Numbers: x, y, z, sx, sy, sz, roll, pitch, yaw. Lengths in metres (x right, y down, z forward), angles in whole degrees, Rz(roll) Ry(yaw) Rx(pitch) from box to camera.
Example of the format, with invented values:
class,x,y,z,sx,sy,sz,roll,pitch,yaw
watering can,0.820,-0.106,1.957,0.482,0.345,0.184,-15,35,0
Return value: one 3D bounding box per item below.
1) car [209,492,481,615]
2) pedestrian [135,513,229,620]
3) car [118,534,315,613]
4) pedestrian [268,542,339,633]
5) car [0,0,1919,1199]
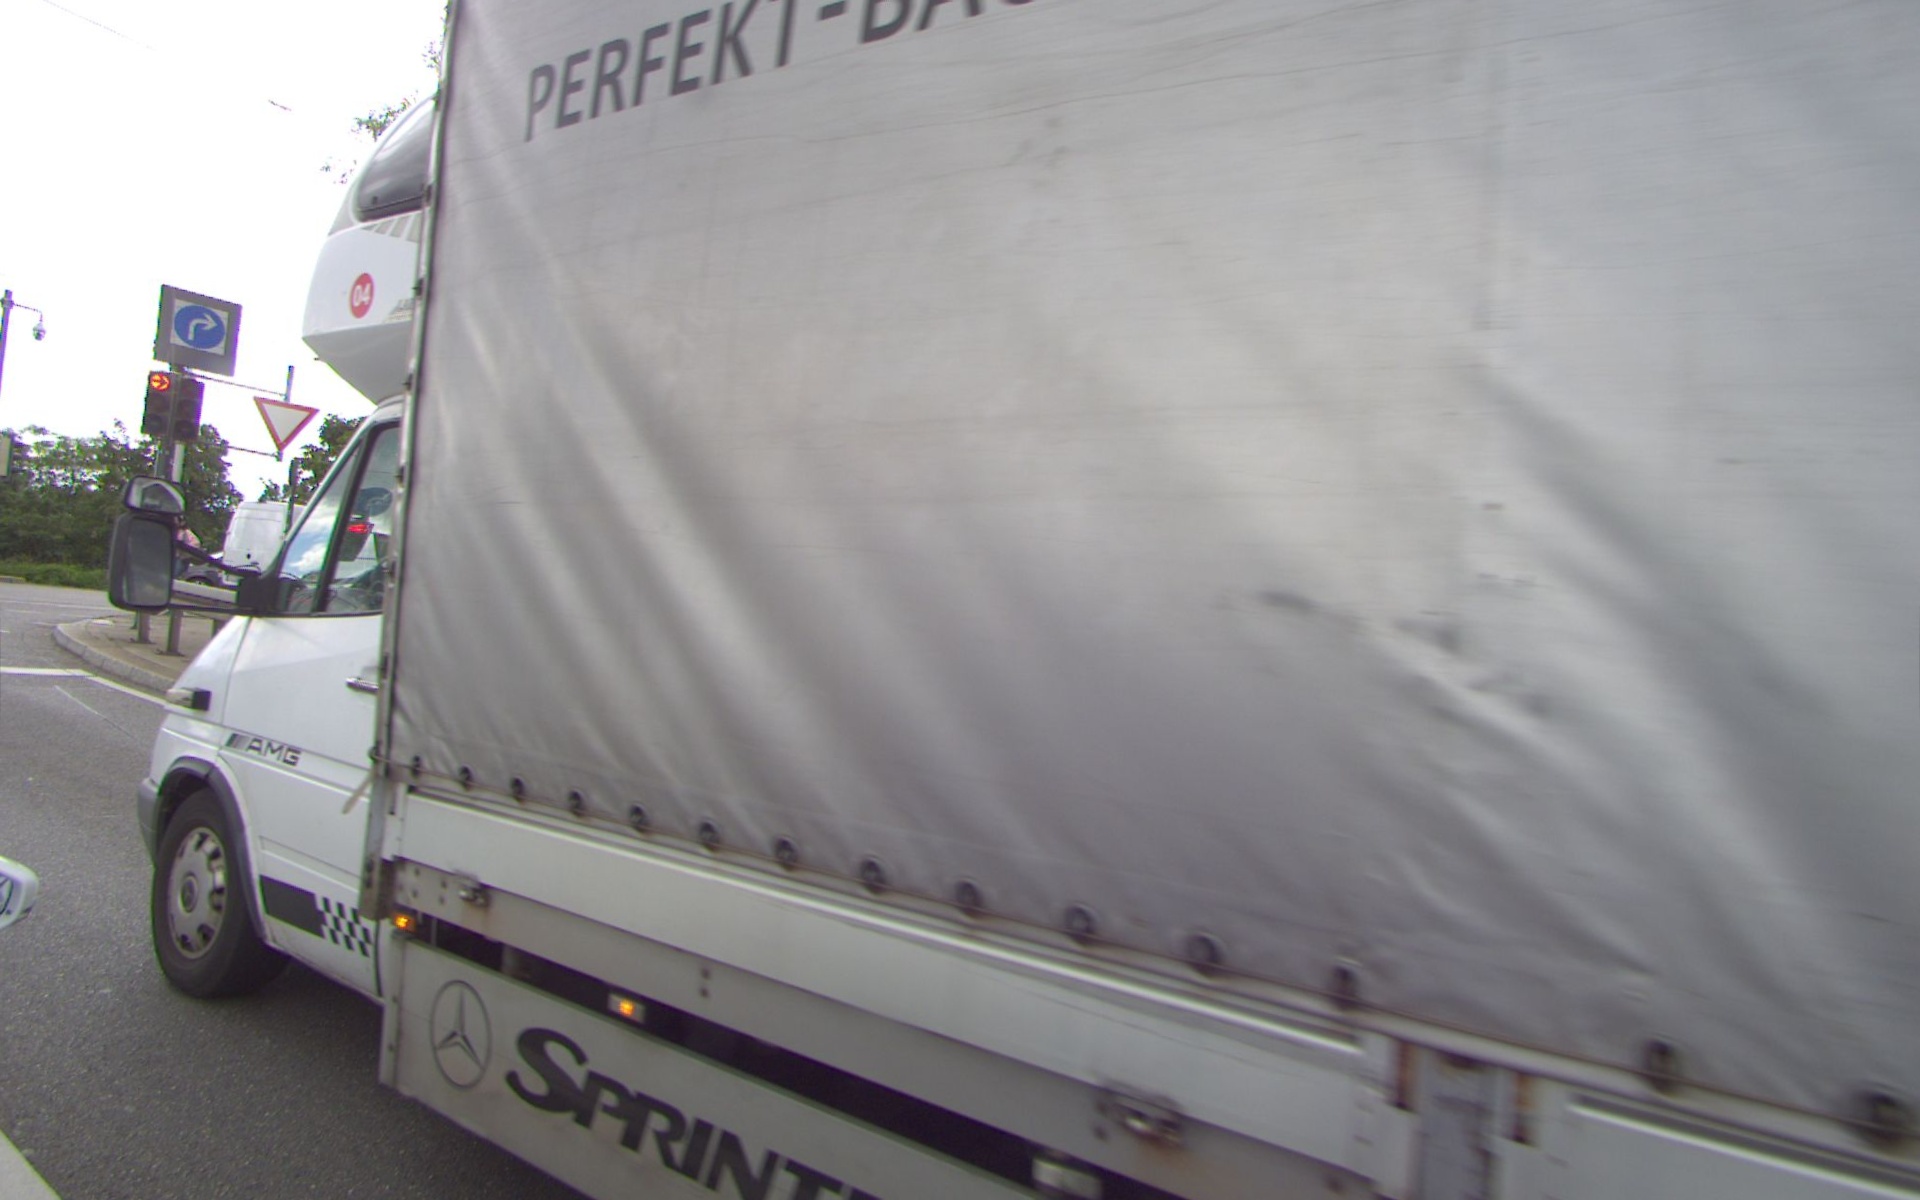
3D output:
class,x,y,z,sx,sy,sz,roll,pitch,yaw
car,-16.129,-1.167,27.030,2.077,2.822,6.773,3,2,13
pedestrian,-13.246,-0.564,17.134,0.963,1.698,0.834,4,-2,29
car,-20.785,-0.682,28.330,1.779,1.684,4.001,7,-1,21
pedestrian,-12.770,-0.237,19.583,0.771,1.639,0.676,7,0,-6
car,0.435,-0.012,2.502,6.974,3.369,2.663,6,-1,32
